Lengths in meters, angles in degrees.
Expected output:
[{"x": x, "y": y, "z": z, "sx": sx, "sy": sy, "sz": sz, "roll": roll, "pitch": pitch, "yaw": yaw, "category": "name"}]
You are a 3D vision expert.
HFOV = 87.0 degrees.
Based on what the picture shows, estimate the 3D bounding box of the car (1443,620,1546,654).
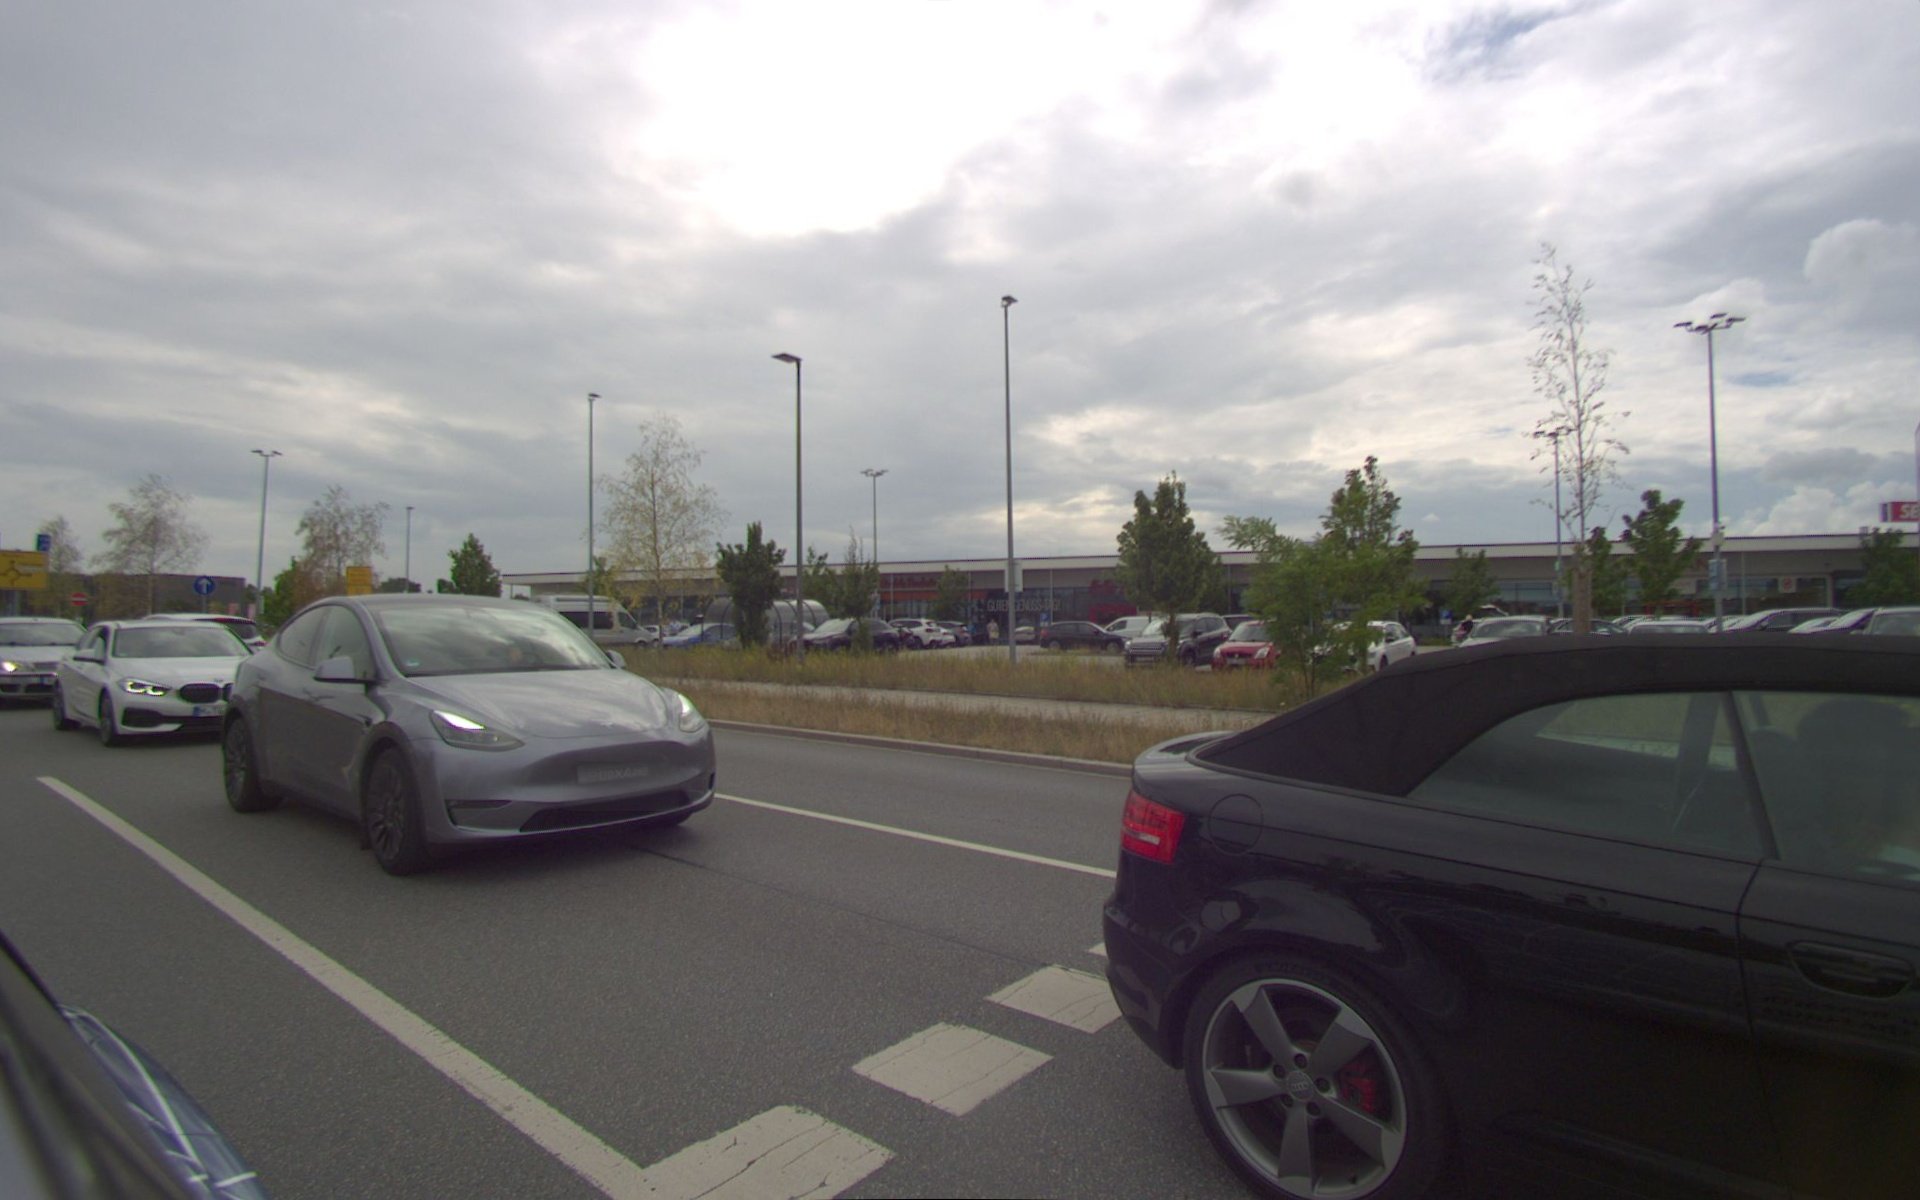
[{"x": 25.164, "y": 1.752, "z": 47.781, "sx": 3.968, "sy": 1.557, "sz": 1.988, "roll": -1, "pitch": -2, "yaw": 19, "category": "car"}]

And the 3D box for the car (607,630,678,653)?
[{"x": -19.822, "y": 2.584, "z": 63.191, "sx": 3.873, "sy": 1.453, "sz": 1.878, "roll": -1, "pitch": -2, "yaw": 20, "category": "car"}]

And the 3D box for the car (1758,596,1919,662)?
[{"x": 25.183, "y": 0.788, "z": 27.896, "sx": 4.548, "sy": 1.760, "sz": 1.987, "roll": -1, "pitch": -2, "yaw": 19, "category": "car"}]

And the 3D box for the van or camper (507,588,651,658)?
[{"x": -16.536, "y": 1.011, "z": 44.278, "sx": 2.234, "sy": 2.821, "sz": 5.811, "roll": -1, "pitch": -2, "yaw": 30, "category": "van or camper"}]

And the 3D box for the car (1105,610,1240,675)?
[{"x": 5.992, "y": 1.157, "z": 28.206, "sx": 2.077, "sy": 1.667, "sz": 4.260, "roll": -2, "pitch": -2, "yaw": 37, "category": "car"}]

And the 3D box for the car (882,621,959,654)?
[{"x": -2.232, "y": 2.074, "z": 57.102, "sx": 3.971, "sy": 1.785, "sz": 1.767, "roll": 0, "pitch": -1, "yaw": 21, "category": "car"}]

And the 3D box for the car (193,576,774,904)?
[{"x": -3.562, "y": 0.745, "z": 7.135, "sx": 4.609, "sy": 1.573, "sz": 1.973, "roll": -2, "pitch": -2, "yaw": 40, "category": "car"}]

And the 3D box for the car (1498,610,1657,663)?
[{"x": 19.767, "y": 1.176, "z": 32.621, "sx": 3.968, "sy": 1.619, "sz": 1.987, "roll": -1, "pitch": -2, "yaw": 19, "category": "car"}]

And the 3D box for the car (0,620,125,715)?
[{"x": -15.909, "y": 1.092, "z": 17.244, "sx": 4.025, "sy": 1.449, "sz": 1.687, "roll": -2, "pitch": -2, "yaw": 37, "category": "car"}]

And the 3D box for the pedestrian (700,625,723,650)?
[{"x": -15.917, "y": 2.405, "z": 64.807, "sx": 1.240, "sy": 1.619, "sz": 0.890, "roll": 0, "pitch": -2, "yaw": 1, "category": "pedestrian"}]

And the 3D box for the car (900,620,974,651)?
[{"x": -1.353, "y": 2.100, "z": 59.827, "sx": 3.967, "sy": 1.785, "sz": 1.874, "roll": -1, "pitch": -2, "yaw": 18, "category": "car"}]

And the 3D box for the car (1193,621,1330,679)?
[{"x": 7.993, "y": 1.271, "z": 26.621, "sx": 1.999, "sy": 1.402, "sz": 4.042, "roll": -2, "pitch": -2, "yaw": 40, "category": "car"}]

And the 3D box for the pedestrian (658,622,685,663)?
[{"x": -13.616, "y": 1.998, "z": 47.810, "sx": 1.096, "sy": 1.904, "sz": 1.012, "roll": 0, "pitch": -2, "yaw": -8, "category": "pedestrian"}]

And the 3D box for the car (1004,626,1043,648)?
[{"x": 4.296, "y": 2.487, "z": 68.311, "sx": 1.985, "sy": 1.493, "sz": 4.034, "roll": -1, "pitch": -2, "yaw": 13, "category": "car"}]

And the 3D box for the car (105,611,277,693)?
[{"x": -17.258, "y": 1.143, "z": 22.627, "sx": 4.698, "sy": 1.649, "sz": 1.974, "roll": -1, "pitch": -4, "yaw": 39, "category": "car"}]

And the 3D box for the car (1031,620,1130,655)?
[{"x": 5.461, "y": 1.664, "z": 45.775, "sx": 4.159, "sy": 1.530, "sz": 1.989, "roll": -1, "pitch": -2, "yaw": 17, "category": "car"}]

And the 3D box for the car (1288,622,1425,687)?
[{"x": 9.849, "y": 1.287, "z": 24.972, "sx": 2.008, "sy": 1.468, "sz": 4.277, "roll": -2, "pitch": -2, "yaw": 38, "category": "car"}]

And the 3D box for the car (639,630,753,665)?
[{"x": -10.624, "y": 1.880, "z": 41.000, "sx": 2.006, "sy": 1.314, "sz": 4.289, "roll": -2, "pitch": -2, "yaw": 33, "category": "car"}]

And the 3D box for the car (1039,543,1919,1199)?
[{"x": 2.390, "y": 0.647, "z": 2.078, "sx": 4.227, "sy": 1.449, "sz": 1.751, "roll": -1, "pitch": -2, "yaw": 40, "category": "car"}]

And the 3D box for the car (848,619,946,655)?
[{"x": -3.394, "y": 2.017, "z": 54.891, "sx": 4.893, "sy": 1.914, "sz": 2.143, "roll": -1, "pitch": -2, "yaw": 23, "category": "car"}]

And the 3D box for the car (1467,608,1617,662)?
[{"x": 21.521, "y": 1.302, "z": 37.598, "sx": 4.402, "sy": 1.936, "sz": 1.831, "roll": -1, "pitch": -2, "yaw": 12, "category": "car"}]

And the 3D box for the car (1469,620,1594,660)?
[{"x": 22.535, "y": 1.579, "z": 40.074, "sx": 3.966, "sy": 1.519, "sz": 1.828, "roll": -1, "pitch": -2, "yaw": 17, "category": "car"}]

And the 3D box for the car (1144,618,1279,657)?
[{"x": 10.264, "y": 1.509, "z": 41.347, "sx": 5.075, "sy": 1.530, "sz": 1.984, "roll": -1, "pitch": -2, "yaw": 24, "category": "car"}]

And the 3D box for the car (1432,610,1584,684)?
[{"x": 12.513, "y": 1.028, "z": 22.983, "sx": 2.237, "sy": 1.517, "sz": 4.321, "roll": -2, "pitch": -2, "yaw": 39, "category": "car"}]

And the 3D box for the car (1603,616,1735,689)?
[{"x": 14.701, "y": 1.032, "z": 21.000, "sx": 2.023, "sy": 1.350, "sz": 4.274, "roll": -2, "pitch": -2, "yaw": 36, "category": "car"}]

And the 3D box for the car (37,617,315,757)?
[{"x": -9.972, "y": 0.959, "z": 12.774, "sx": 4.188, "sy": 1.480, "sz": 1.861, "roll": -1, "pitch": -2, "yaw": 39, "category": "car"}]

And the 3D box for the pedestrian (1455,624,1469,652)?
[{"x": 19.265, "y": 1.455, "z": 38.834, "sx": 0.385, "sy": 1.057, "sz": 0.270, "roll": 0, "pitch": -1, "yaw": -29, "category": "pedestrian"}]

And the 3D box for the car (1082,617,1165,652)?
[{"x": 9.132, "y": 1.947, "z": 56.381, "sx": 4.270, "sy": 1.888, "sz": 2.231, "roll": -1, "pitch": -2, "yaw": 18, "category": "car"}]

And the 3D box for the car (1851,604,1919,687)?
[{"x": 17.929, "y": 0.811, "z": 18.658, "sx": 2.164, "sy": 1.402, "sz": 4.312, "roll": -2, "pitch": -2, "yaw": 41, "category": "car"}]
